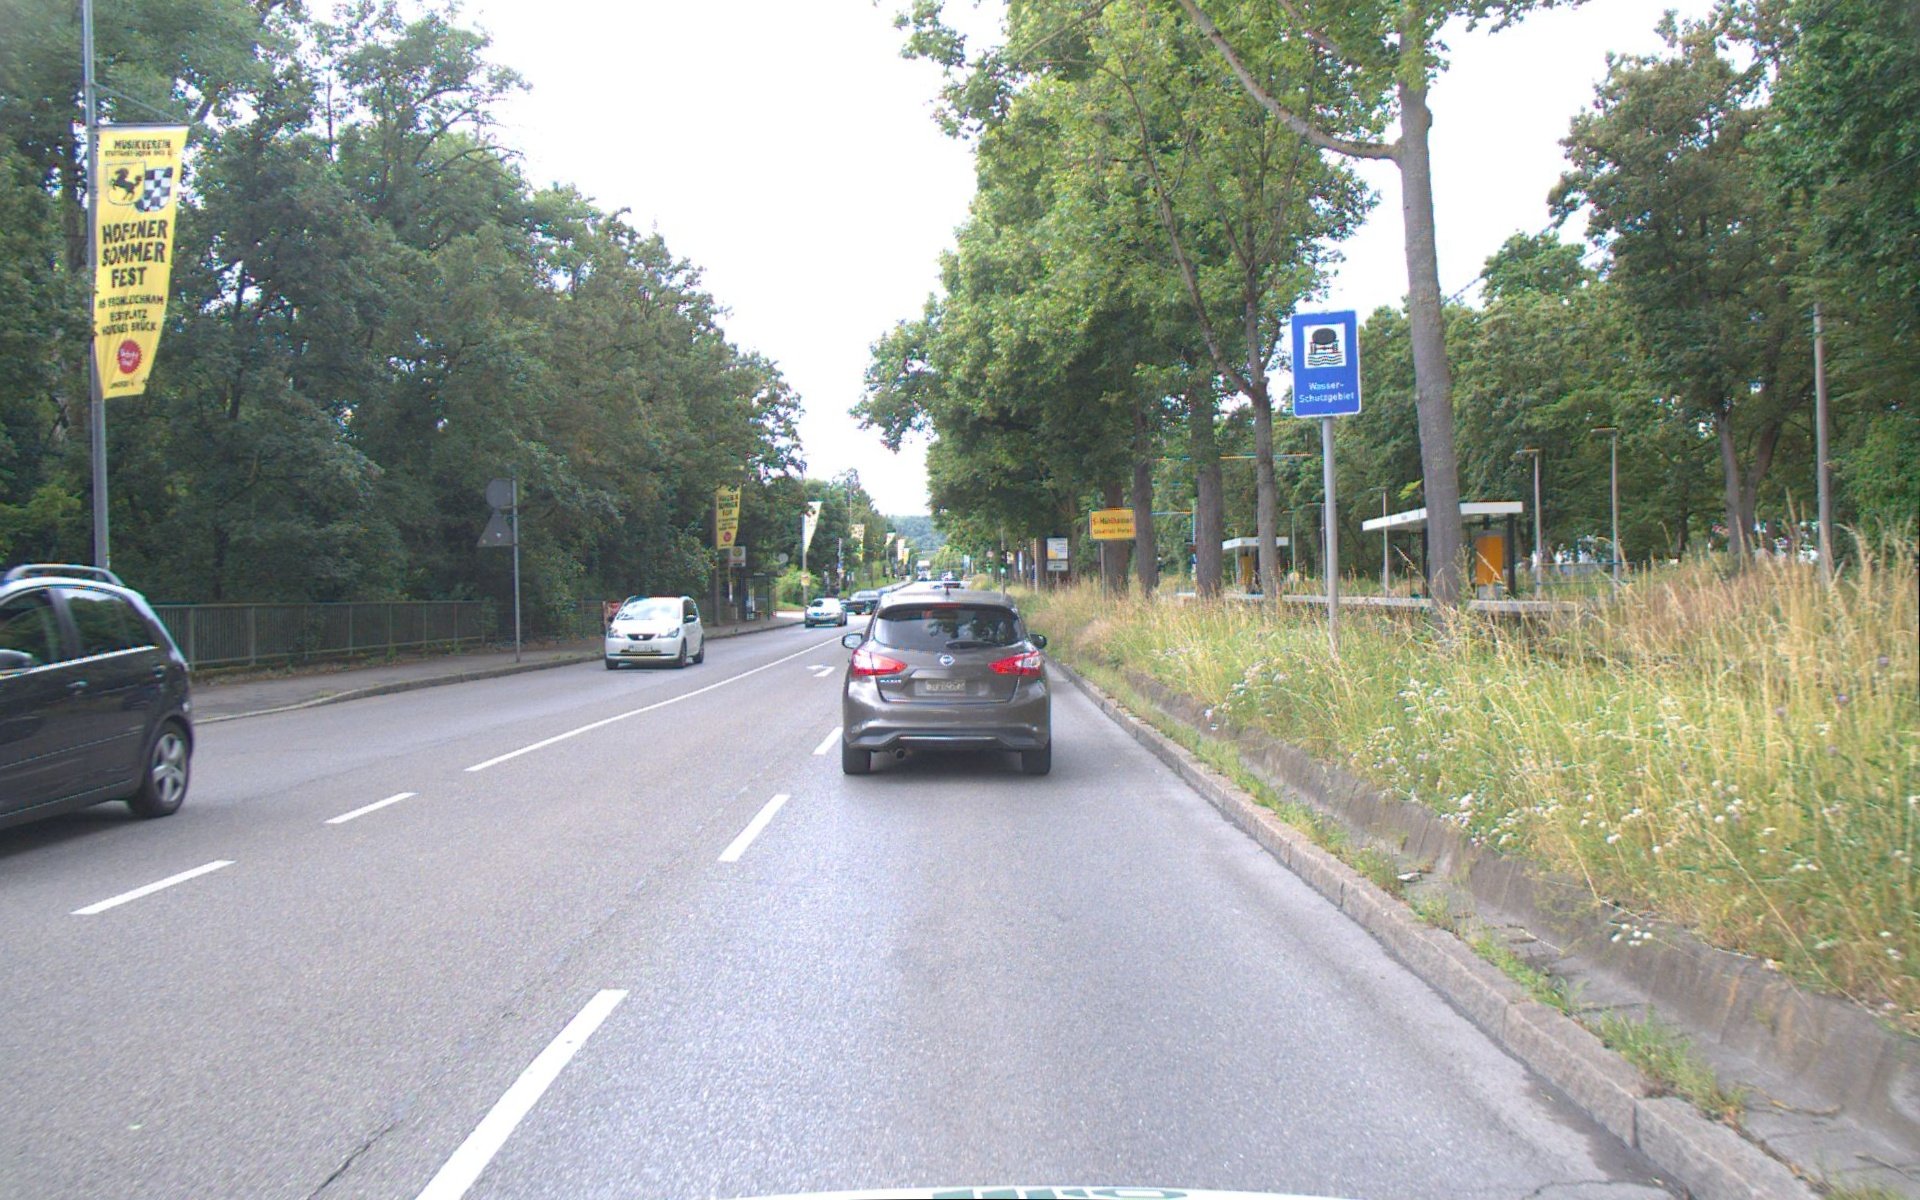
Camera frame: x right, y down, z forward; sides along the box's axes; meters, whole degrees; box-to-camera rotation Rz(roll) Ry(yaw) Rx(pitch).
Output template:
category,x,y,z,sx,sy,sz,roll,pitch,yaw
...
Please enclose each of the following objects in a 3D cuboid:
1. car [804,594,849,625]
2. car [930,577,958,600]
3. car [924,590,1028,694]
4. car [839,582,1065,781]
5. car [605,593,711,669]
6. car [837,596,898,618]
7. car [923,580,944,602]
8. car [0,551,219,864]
category,x,y,z,sx,sy,sz,roll,pitch,yaw
car,-6.131,0.415,76.241,1.722,1.360,3.696,-1,0,0
car,-1.169,-0.814,122.430,1.953,1.601,3.999,1,0,0
car,0.225,0.587,25.518,1.471,1.466,3.541,-1,0,0
car,-0.054,0.633,14.789,1.747,1.533,3.696,-1,0,0
car,-6.348,0.621,35.088,1.548,1.491,3.696,-1,0,0
car,-5.804,0.438,103.860,3.627,1.360,1.755,-1,0,40
car,-2.630,-0.859,162.485,1.954,2.049,3.998,1,0,-3
car,-5.881,0.560,9.348,1.685,1.635,4.012,0,0,-2
